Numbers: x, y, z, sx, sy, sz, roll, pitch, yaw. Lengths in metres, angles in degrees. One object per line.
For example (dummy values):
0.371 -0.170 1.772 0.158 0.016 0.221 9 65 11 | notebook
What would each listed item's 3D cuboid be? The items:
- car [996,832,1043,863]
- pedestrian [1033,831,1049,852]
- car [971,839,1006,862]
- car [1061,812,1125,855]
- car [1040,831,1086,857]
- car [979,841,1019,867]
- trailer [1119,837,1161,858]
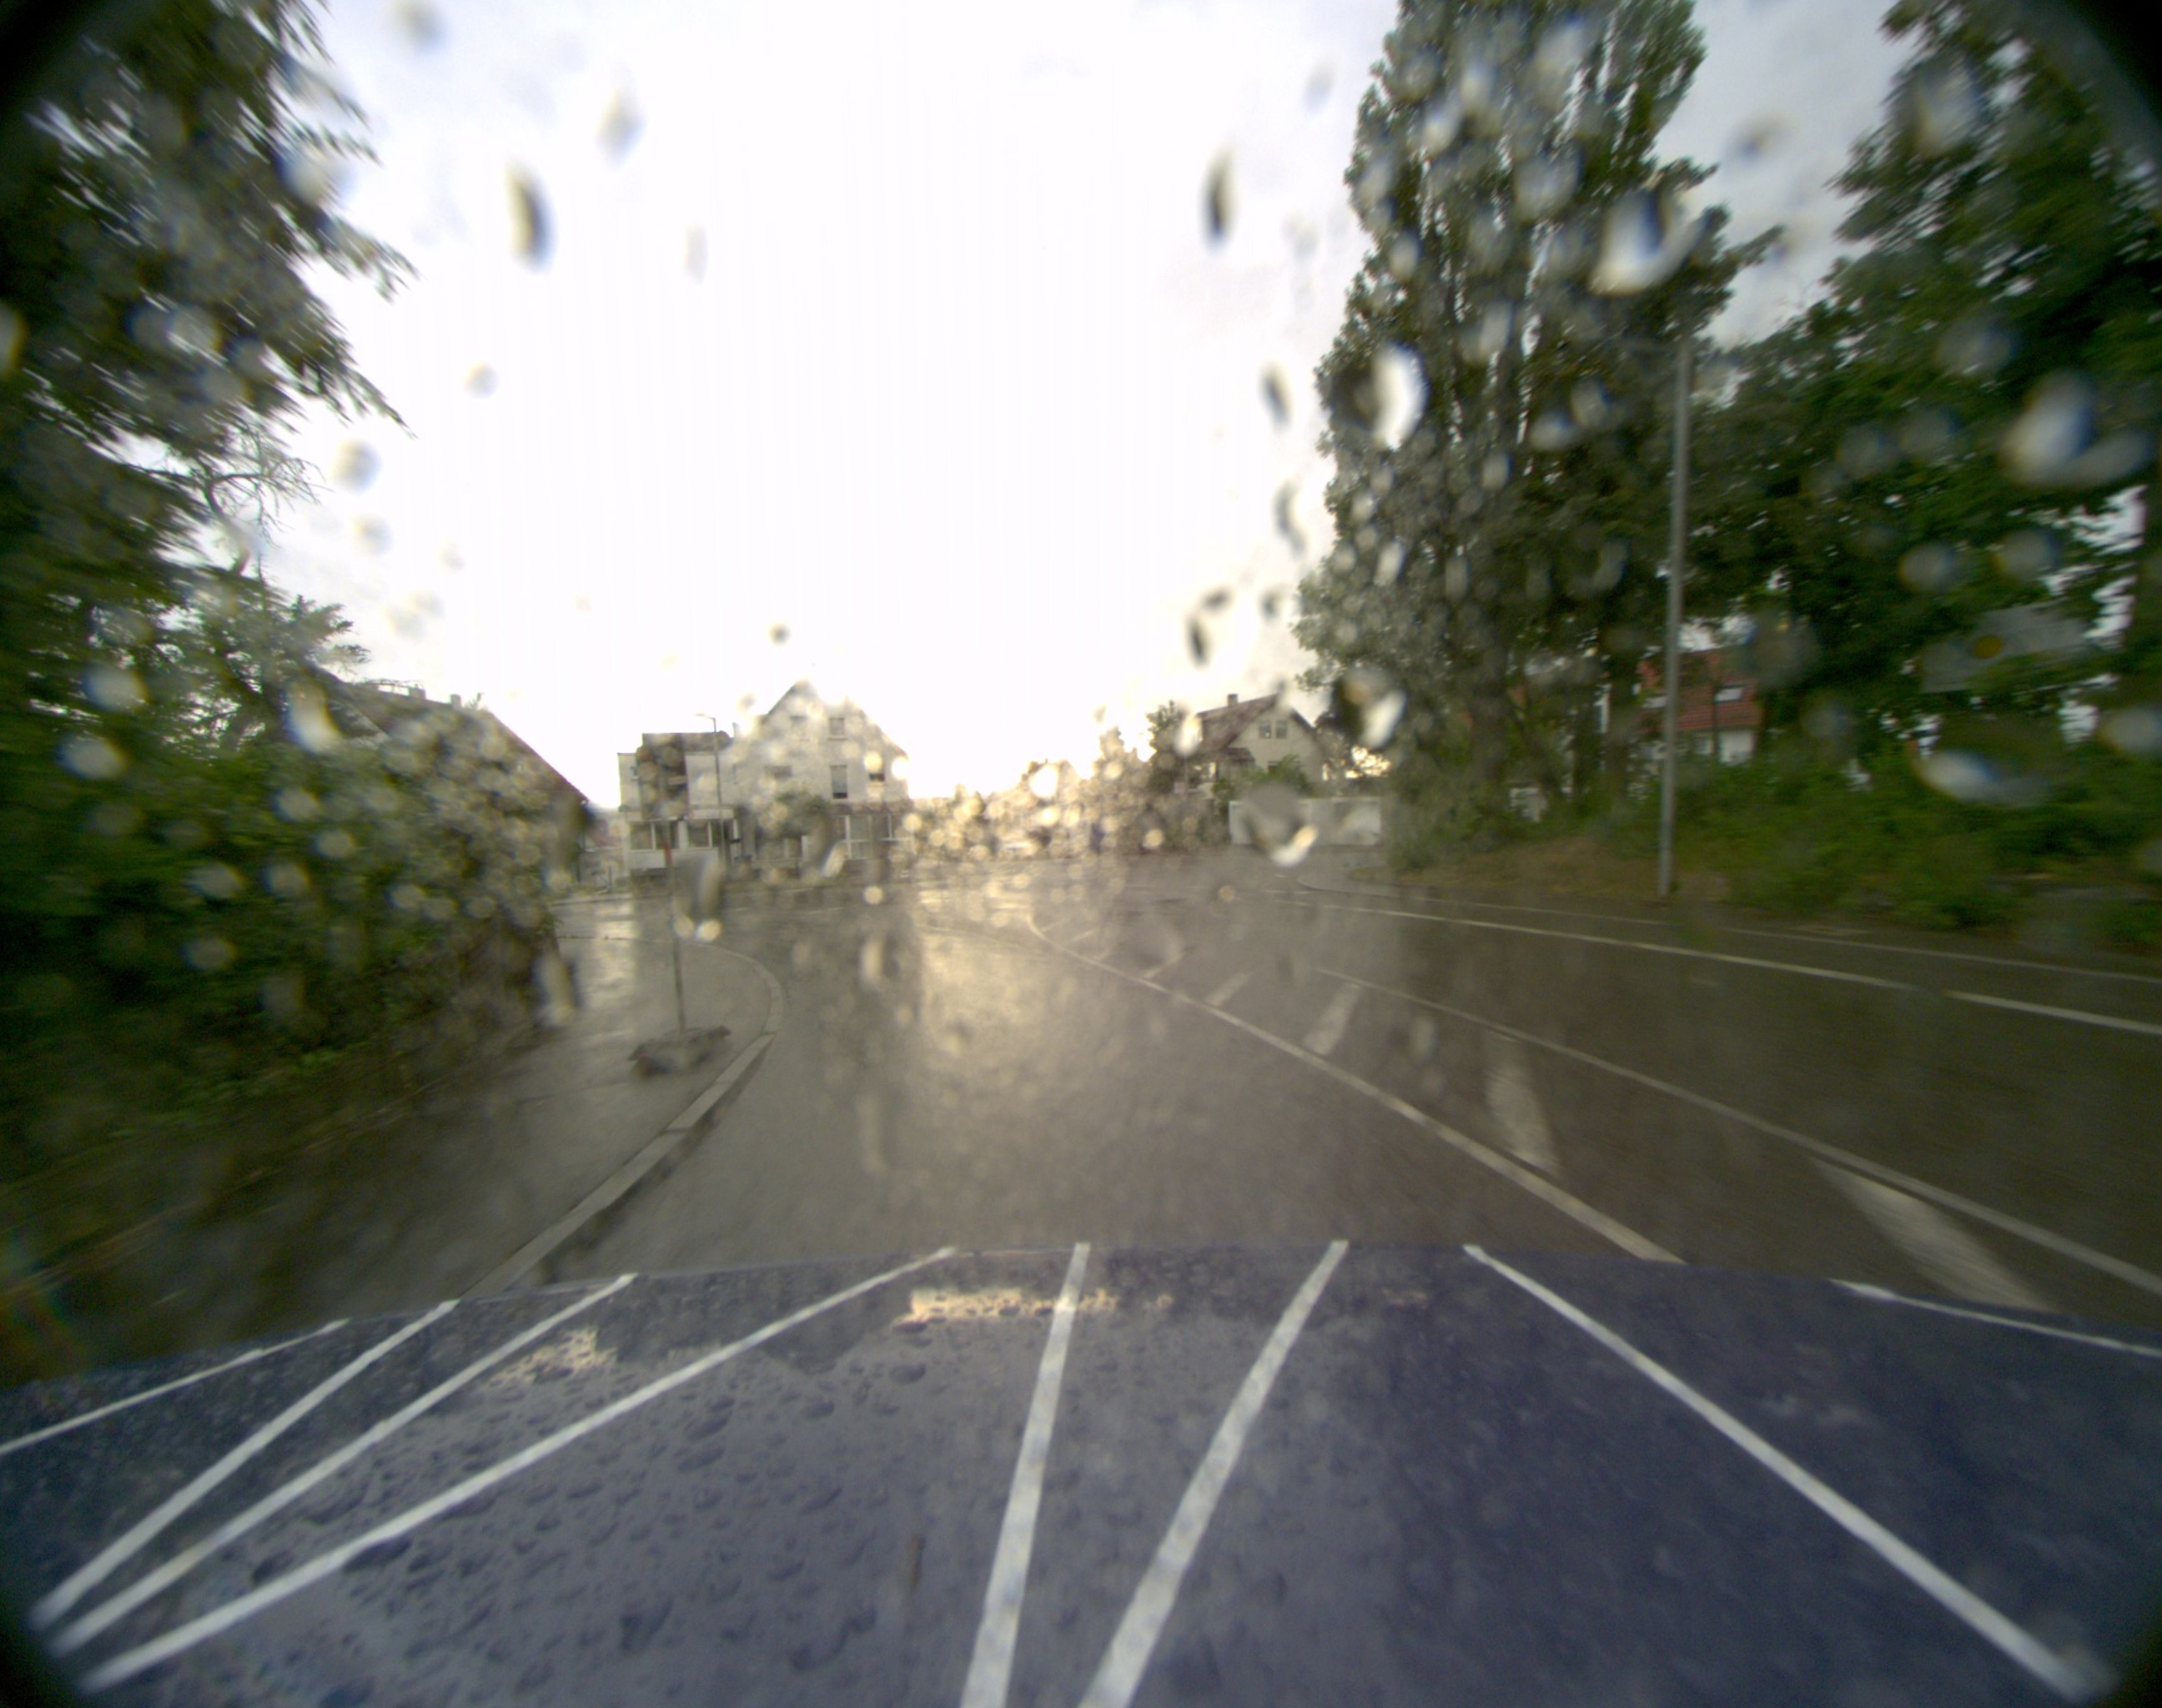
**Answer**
-3.903 -0.444 47.187 2.068 1.697 4.786 -5 3 -14 | car
-2.991 -0.950 56.799 0.826 1.502 0.975 -5 3 -16 | pedestrian
-7.215 -0.283 58.897 2.068 1.502 4.475 -5 3 -14 | car
0.691 -1.375 50.461 2.192 2.509 6.243 -5 3 -17 | car
-1.403 -0.752 57.251 2.068 1.697 4.785 -5 3 -18 | car
-5.799 -0.040 53.298 2.068 1.502 4.475 -5 3 -14 | car
3.376 -0.389 43.798 1.593 1.001 2.819 -6 2 -11 | trailer
